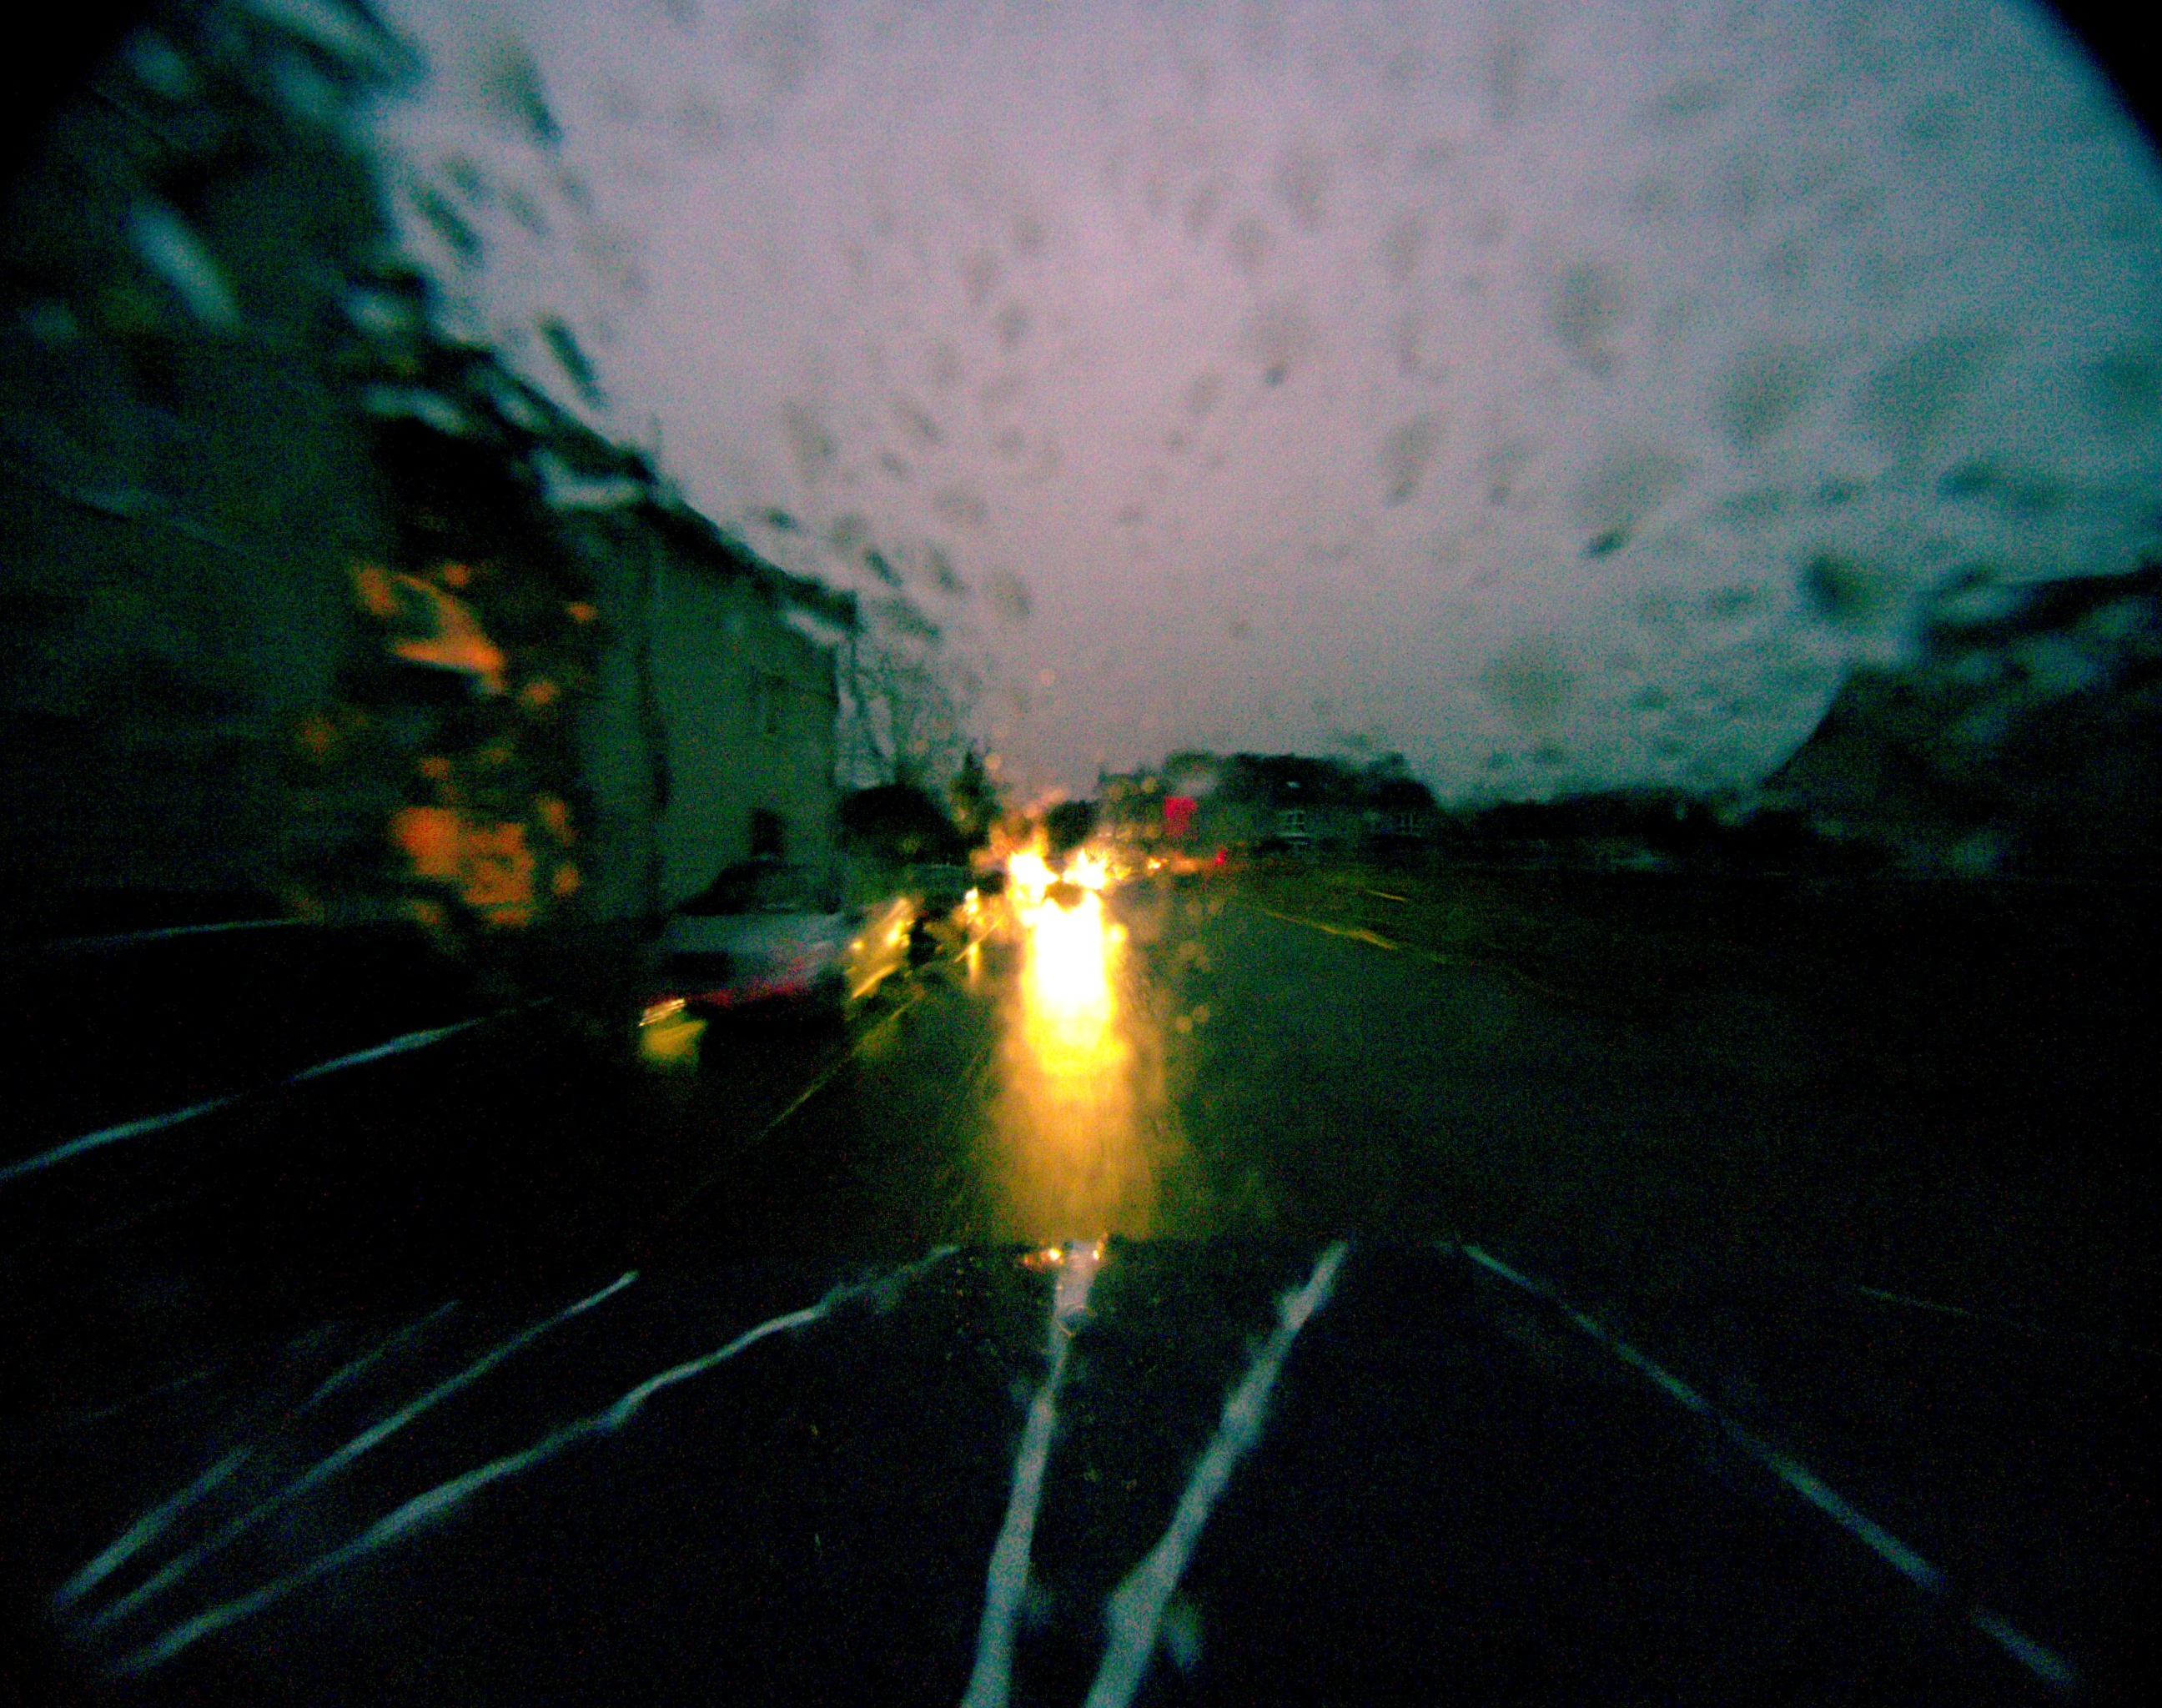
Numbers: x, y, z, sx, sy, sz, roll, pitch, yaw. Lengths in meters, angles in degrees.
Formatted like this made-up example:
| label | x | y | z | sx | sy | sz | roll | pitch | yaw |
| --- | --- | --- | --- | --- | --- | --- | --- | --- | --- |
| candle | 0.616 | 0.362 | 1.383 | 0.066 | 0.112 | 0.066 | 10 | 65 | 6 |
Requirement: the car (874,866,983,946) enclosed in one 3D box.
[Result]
| label | x | y | z | sx | sy | sz | roll | pitch | yaw |
| --- | --- | --- | --- | --- | --- | --- | --- | --- | --- |
| car | -3.127 | 1.001 | 16.310 | 1.707 | 1.443 | 4.190 | 0 | 0 | -3 |

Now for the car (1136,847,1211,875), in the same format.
| label | x | y | z | sx | sy | sz | roll | pitch | yaw |
| --- | --- | --- | --- | --- | --- | --- | --- | --- | --- |
| car | 6.009 | 0.444 | 49.596 | 4.347 | 1.611 | 1.998 | -3 | 1 | -10 |

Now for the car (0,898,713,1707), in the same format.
| label | x | y | z | sx | sy | sz | roll | pitch | yaw |
| --- | --- | --- | --- | --- | --- | --- | --- | --- | --- |
| car | -2.804 | 1.023 | 1.257 | 1.962 | 1.523 | 5.008 | -3 | 0 | -1 |

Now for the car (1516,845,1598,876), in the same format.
| label | x | y | z | sx | sy | sz | roll | pitch | yaw |
| --- | --- | --- | --- | --- | --- | --- | --- | --- | --- |
| car | 24.164 | 0.271 | 38.700 | 1.680 | 1.406 | 3.833 | -3 | 1 | -1 |

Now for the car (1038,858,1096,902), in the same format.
| label | x | y | z | sx | sy | sz | roll | pitch | yaw |
| --- | --- | --- | --- | --- | --- | --- | --- | --- | --- |
| car | -0.606 | 0.976 | 29.617 | 1.999 | 1.525 | 3.999 | -2 | -1 | -4 |

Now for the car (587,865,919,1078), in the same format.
| label | x | y | z | sx | sy | sz | roll | pitch | yaw |
| --- | --- | --- | --- | --- | --- | --- | --- | --- | --- |
| car | -3.005 | 0.938 | 8.119 | 1.669 | 1.566 | 4.496 | 0 | 0 | -1 |

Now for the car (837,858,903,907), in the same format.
| label | x | y | z | sx | sy | sz | roll | pitch | yaw |
| --- | --- | --- | --- | --- | --- | --- | --- | --- | --- |
| car | -7.283 | 0.916 | 26.603 | 1.813 | 1.543 | 4.300 | 0 | 0 | -10 |

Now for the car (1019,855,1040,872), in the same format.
| label | x | y | z | sx | sy | sz | roll | pitch | yaw |
| --- | --- | --- | --- | --- | --- | --- | --- | --- | --- |
| car | -5.004 | 0.926 | 73.466 | 1.907 | 1.630 | 4.565 | -1 | -1 | -5 |

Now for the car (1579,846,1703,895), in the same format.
| label | x | y | z | sx | sy | sz | roll | pitch | yaw |
| --- | --- | --- | --- | --- | --- | --- | --- | --- | --- |
| car | 24.347 | 0.661 | 33.263 | 1.999 | 1.893 | 4.356 | -3 | 0 | -2 |

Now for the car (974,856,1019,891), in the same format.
| label | x | y | z | sx | sy | sz | roll | pitch | yaw |
| --- | --- | --- | --- | --- | --- | --- | --- | --- | --- |
| car | -3.962 | 0.870 | 36.163 | 1.812 | 1.555 | 4.303 | 0 | 0 | -2 |

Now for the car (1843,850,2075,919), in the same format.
| label | x | y | z | sx | sy | sz | roll | pitch | yaw |
| --- | --- | --- | --- | --- | --- | --- | --- | --- | --- |
| car | 23.735 | 0.773 | 20.805 | 1.821 | 1.614 | 3.986 | -3 | 0 | 4 |

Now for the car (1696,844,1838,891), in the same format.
| label | x | y | z | sx | sy | sz | roll | pitch | yaw |
| --- | --- | --- | --- | --- | --- | --- | --- | --- | --- |
| car | 26.552 | 0.494 | 29.609 | 1.840 | 1.637 | 4.000 | -3 | 0 | 0 |

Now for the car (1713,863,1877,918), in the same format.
| label | x | y | z | sx | sy | sz | roll | pitch | yaw |
| --- | --- | --- | --- | --- | --- | --- | --- | --- | --- |
| car | 23.831 | 1.162 | 25.594 | 1.901 | 1.509 | 4.000 | -3 | 1 | 4 |

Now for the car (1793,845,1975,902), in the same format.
| label | x | y | z | sx | sy | sz | roll | pitch | yaw |
| --- | --- | --- | --- | --- | --- | --- | --- | --- | --- |
| car | 26.352 | 0.590 | 25.160 | 1.815 | 1.637 | 4.000 | -3 | 0 | 2 |
